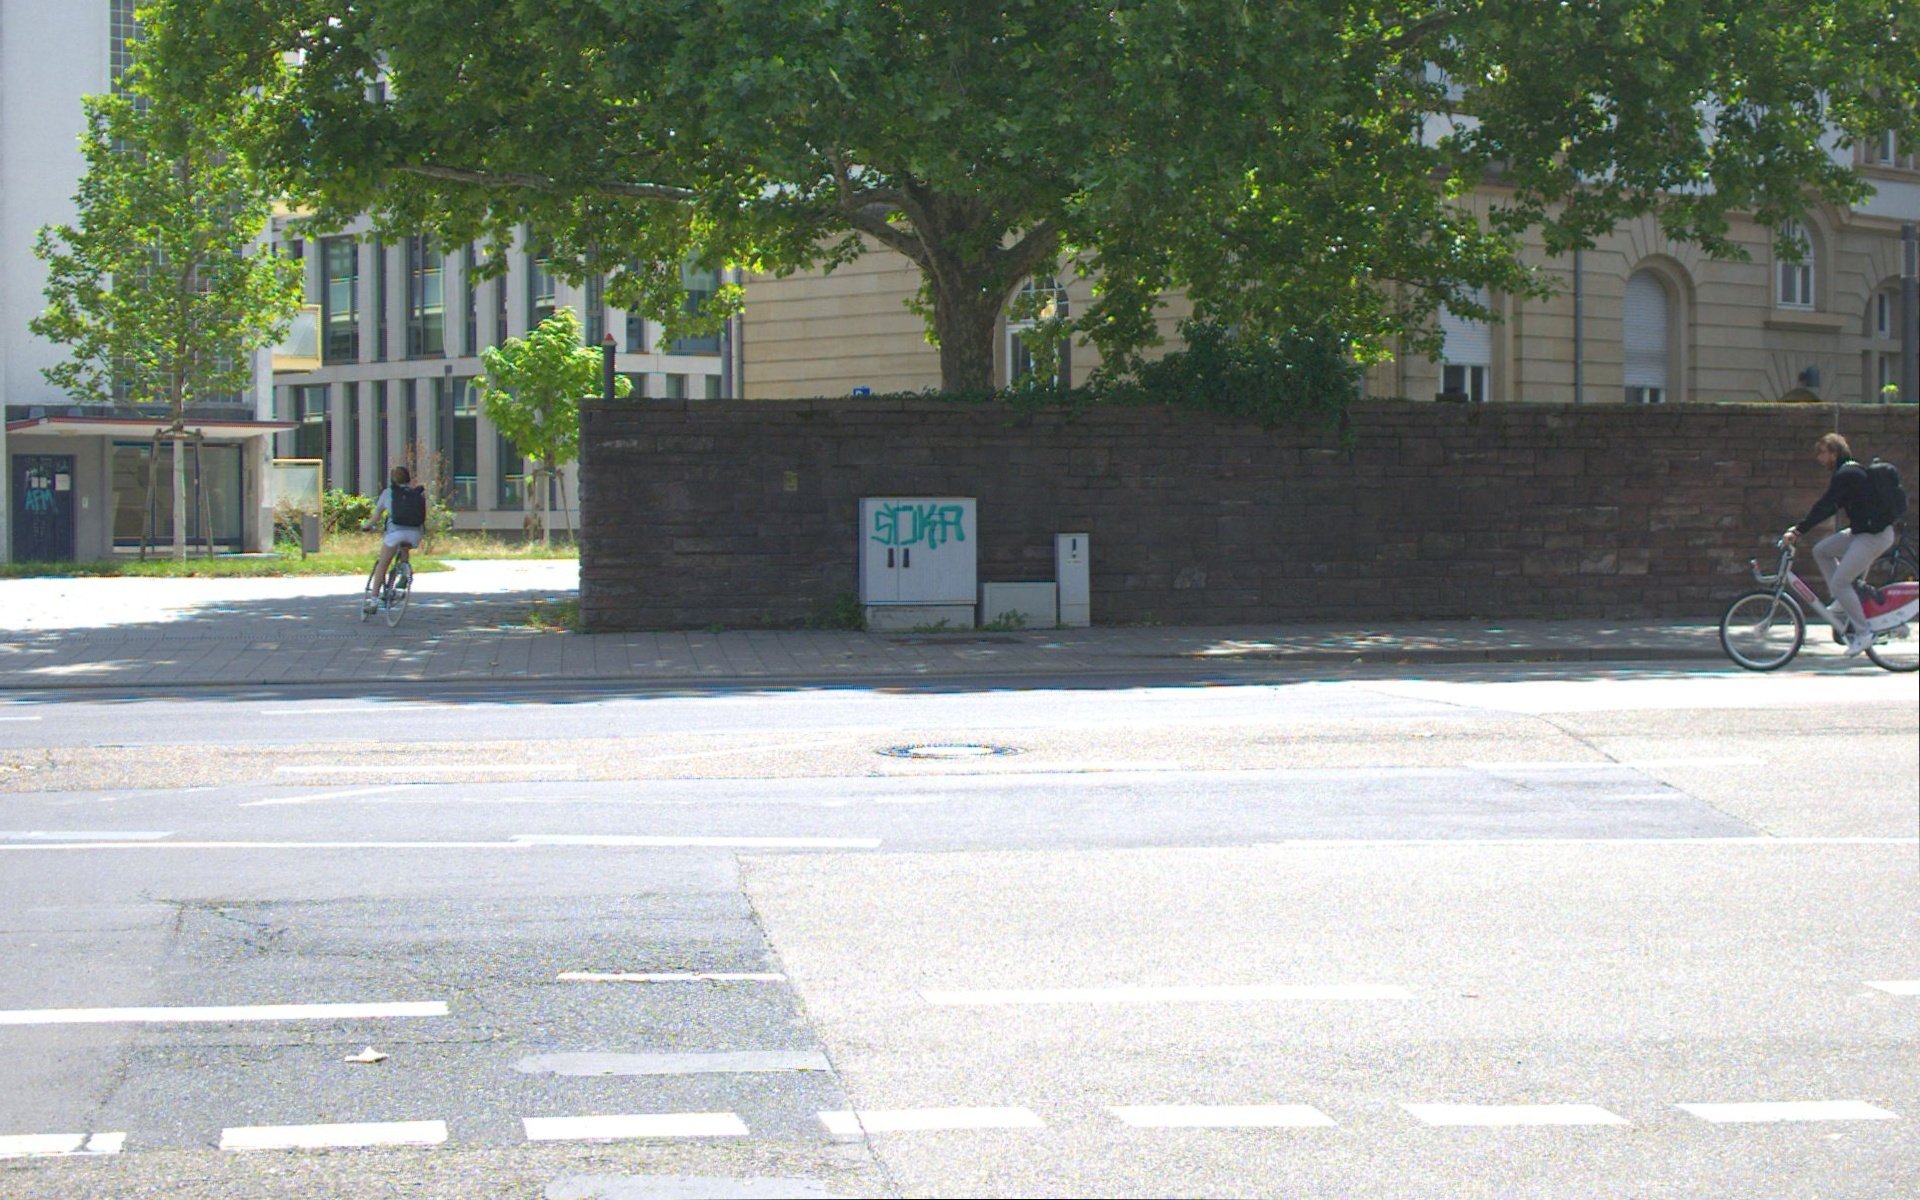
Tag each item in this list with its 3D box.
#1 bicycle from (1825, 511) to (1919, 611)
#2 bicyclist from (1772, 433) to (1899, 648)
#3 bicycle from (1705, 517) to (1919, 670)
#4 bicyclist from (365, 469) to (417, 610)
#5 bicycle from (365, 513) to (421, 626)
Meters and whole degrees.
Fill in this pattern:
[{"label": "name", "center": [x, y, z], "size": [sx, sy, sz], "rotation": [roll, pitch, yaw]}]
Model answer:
[{"label": "bicycle", "center": [10.631, -0.436, 37.212], "size": [2.380, 1.055, 0.754], "rotation": [-1, 2, -14]}, {"label": "bicyclist", "center": [6.888, -0.471, 27.076], "size": [0.887, 1.666, 0.684], "rotation": [0, 2, 7]}, {"label": "bicycle", "center": [6.915, -0.057, 27.091], "size": [1.982, 1.181, 0.682], "rotation": [0, 2, 7]}, {"label": "bicyclist", "center": [-5.896, -0.632, 35.662], "size": [0.514, 1.447, 0.787], "rotation": [0, 1, -9]}, {"label": "bicycle", "center": [-5.898, -0.338, 35.744], "size": [0.550, 1.127, 2.175], "rotation": [0, 2, -10]}]
